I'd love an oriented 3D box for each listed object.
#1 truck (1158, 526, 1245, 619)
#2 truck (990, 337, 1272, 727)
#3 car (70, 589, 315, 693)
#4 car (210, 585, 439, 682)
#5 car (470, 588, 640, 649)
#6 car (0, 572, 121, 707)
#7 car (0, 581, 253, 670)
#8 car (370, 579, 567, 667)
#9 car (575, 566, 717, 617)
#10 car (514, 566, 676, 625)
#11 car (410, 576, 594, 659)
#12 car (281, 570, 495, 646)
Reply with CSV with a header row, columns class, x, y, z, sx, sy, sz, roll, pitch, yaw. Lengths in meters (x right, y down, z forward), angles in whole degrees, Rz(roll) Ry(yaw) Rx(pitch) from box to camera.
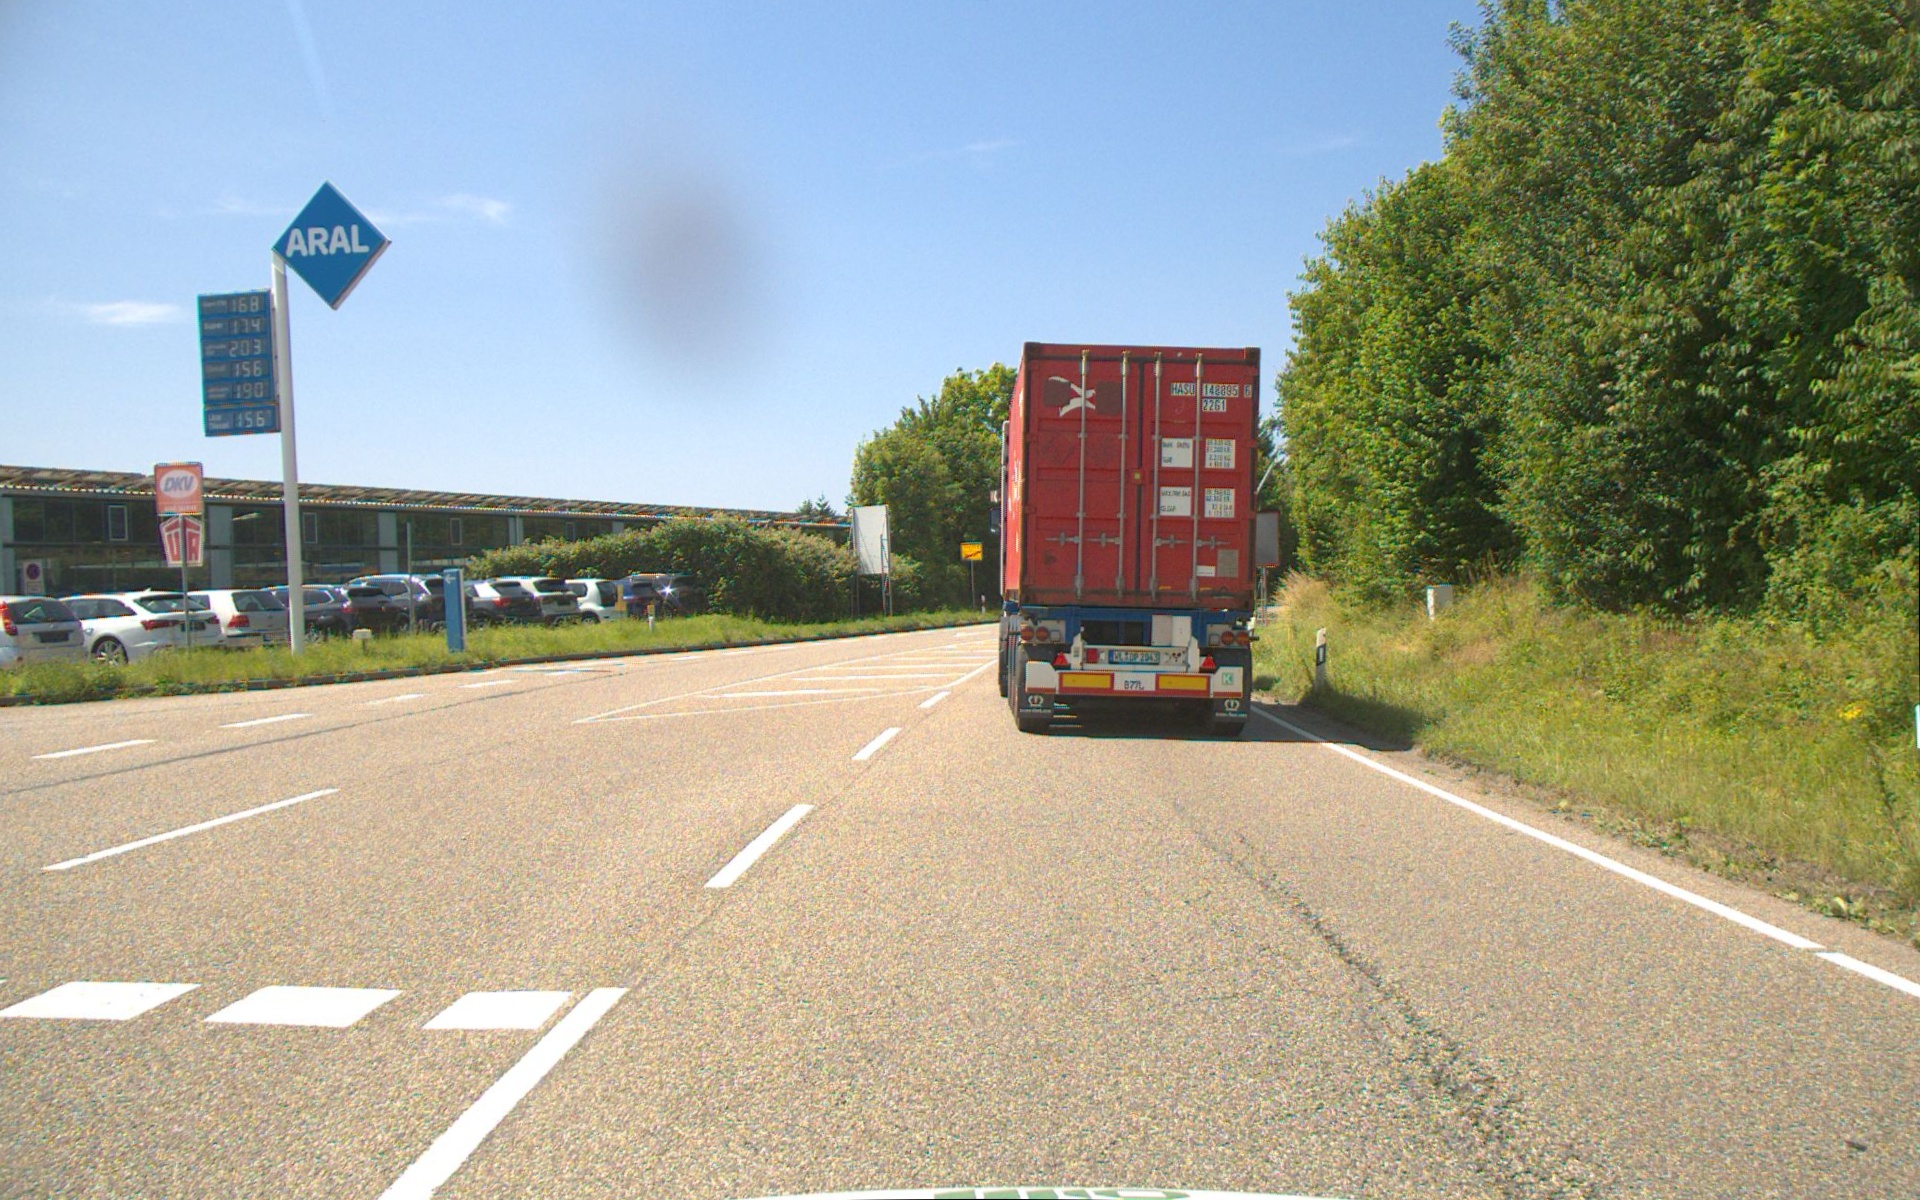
class,x,y,z,sx,sy,sz,roll,pitch,yaw
truck,11.222,-1.275,75.698,2.859,3.781,13.372,-1,1,13
truck,1.826,-0.741,23.164,2.593,3.873,13.360,0,1,0
car,-14.480,0.762,31.263,3.904,1.780,1.935,-2,0,19
car,-12.854,0.672,33.510,3.904,1.780,2.001,-2,0,19
car,-10.692,0.482,43.701,3.903,1.340,1.835,-3,1,16
car,-15.974,0.652,26.790,3.903,2.049,2.001,-2,0,17
car,-14.812,0.439,28.954,4.147,1.382,2.001,-2,0,17
car,-11.467,0.523,38.635,3.904,1.780,2.001,-3,0,19
car,-9.088,-0.260,47.902,3.619,1.397,1.804,1,1,19
car,-10.079,-0.130,45.771,3.903,1.386,1.822,-3,1,16
car,-11.380,0.423,41.166,3.904,1.780,2.001,-3,0,19
car,-12.353,0.166,35.760,3.904,1.355,2.001,-3,1,19
